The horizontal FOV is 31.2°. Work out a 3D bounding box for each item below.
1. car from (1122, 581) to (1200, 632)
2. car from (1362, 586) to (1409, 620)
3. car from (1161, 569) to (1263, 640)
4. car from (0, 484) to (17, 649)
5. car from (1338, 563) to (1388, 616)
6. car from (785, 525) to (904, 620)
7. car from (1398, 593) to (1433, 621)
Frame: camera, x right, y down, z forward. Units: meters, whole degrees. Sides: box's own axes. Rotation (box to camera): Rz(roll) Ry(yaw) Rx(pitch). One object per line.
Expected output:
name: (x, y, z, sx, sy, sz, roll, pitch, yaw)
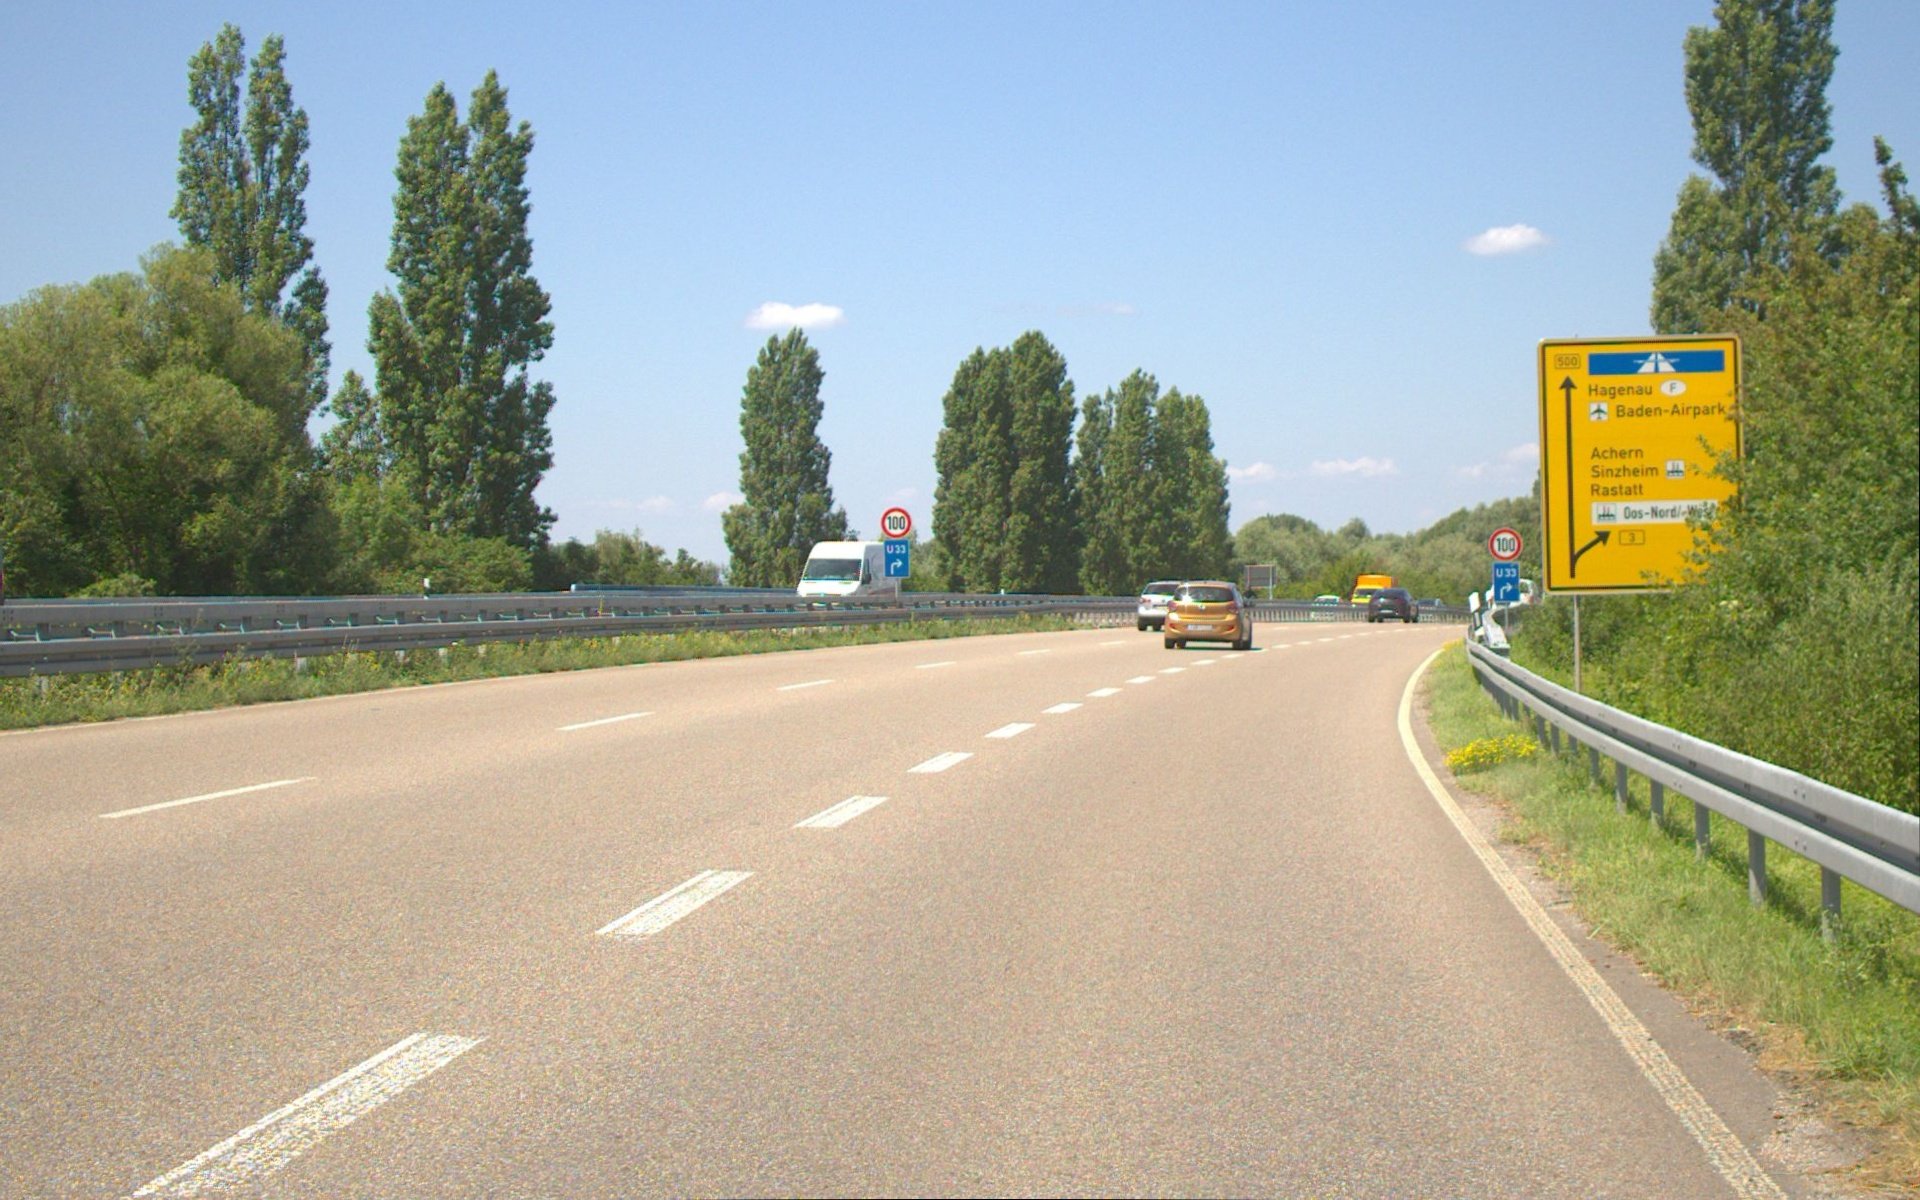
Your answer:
car: (5.994, 0.175, 102.209, 1.842, 1.446, 3.998, 2, 1, 10)
car: (19.742, 0.130, 159.254, 1.944, 1.459, 3.998, 2, 1, 10)
car: (5.532, 0.084, 75.190, 1.842, 1.459, 3.998, 2, 1, 9)
car: (-16.620, -0.574, 52.886, 2.204, 2.629, 5.624, 0, -1, 5)
car: (25.433, -0.648, 216.591, 2.307, 3.281, 7.024, 0, 0, 13)
car: (-3.511, -0.795, 106.387, 2.280, 2.764, 7.218, 0, -1, 10)
car: (31.150, 0.505, 234.993, 1.854, 1.812, 4.791, 0, -1, 14)
